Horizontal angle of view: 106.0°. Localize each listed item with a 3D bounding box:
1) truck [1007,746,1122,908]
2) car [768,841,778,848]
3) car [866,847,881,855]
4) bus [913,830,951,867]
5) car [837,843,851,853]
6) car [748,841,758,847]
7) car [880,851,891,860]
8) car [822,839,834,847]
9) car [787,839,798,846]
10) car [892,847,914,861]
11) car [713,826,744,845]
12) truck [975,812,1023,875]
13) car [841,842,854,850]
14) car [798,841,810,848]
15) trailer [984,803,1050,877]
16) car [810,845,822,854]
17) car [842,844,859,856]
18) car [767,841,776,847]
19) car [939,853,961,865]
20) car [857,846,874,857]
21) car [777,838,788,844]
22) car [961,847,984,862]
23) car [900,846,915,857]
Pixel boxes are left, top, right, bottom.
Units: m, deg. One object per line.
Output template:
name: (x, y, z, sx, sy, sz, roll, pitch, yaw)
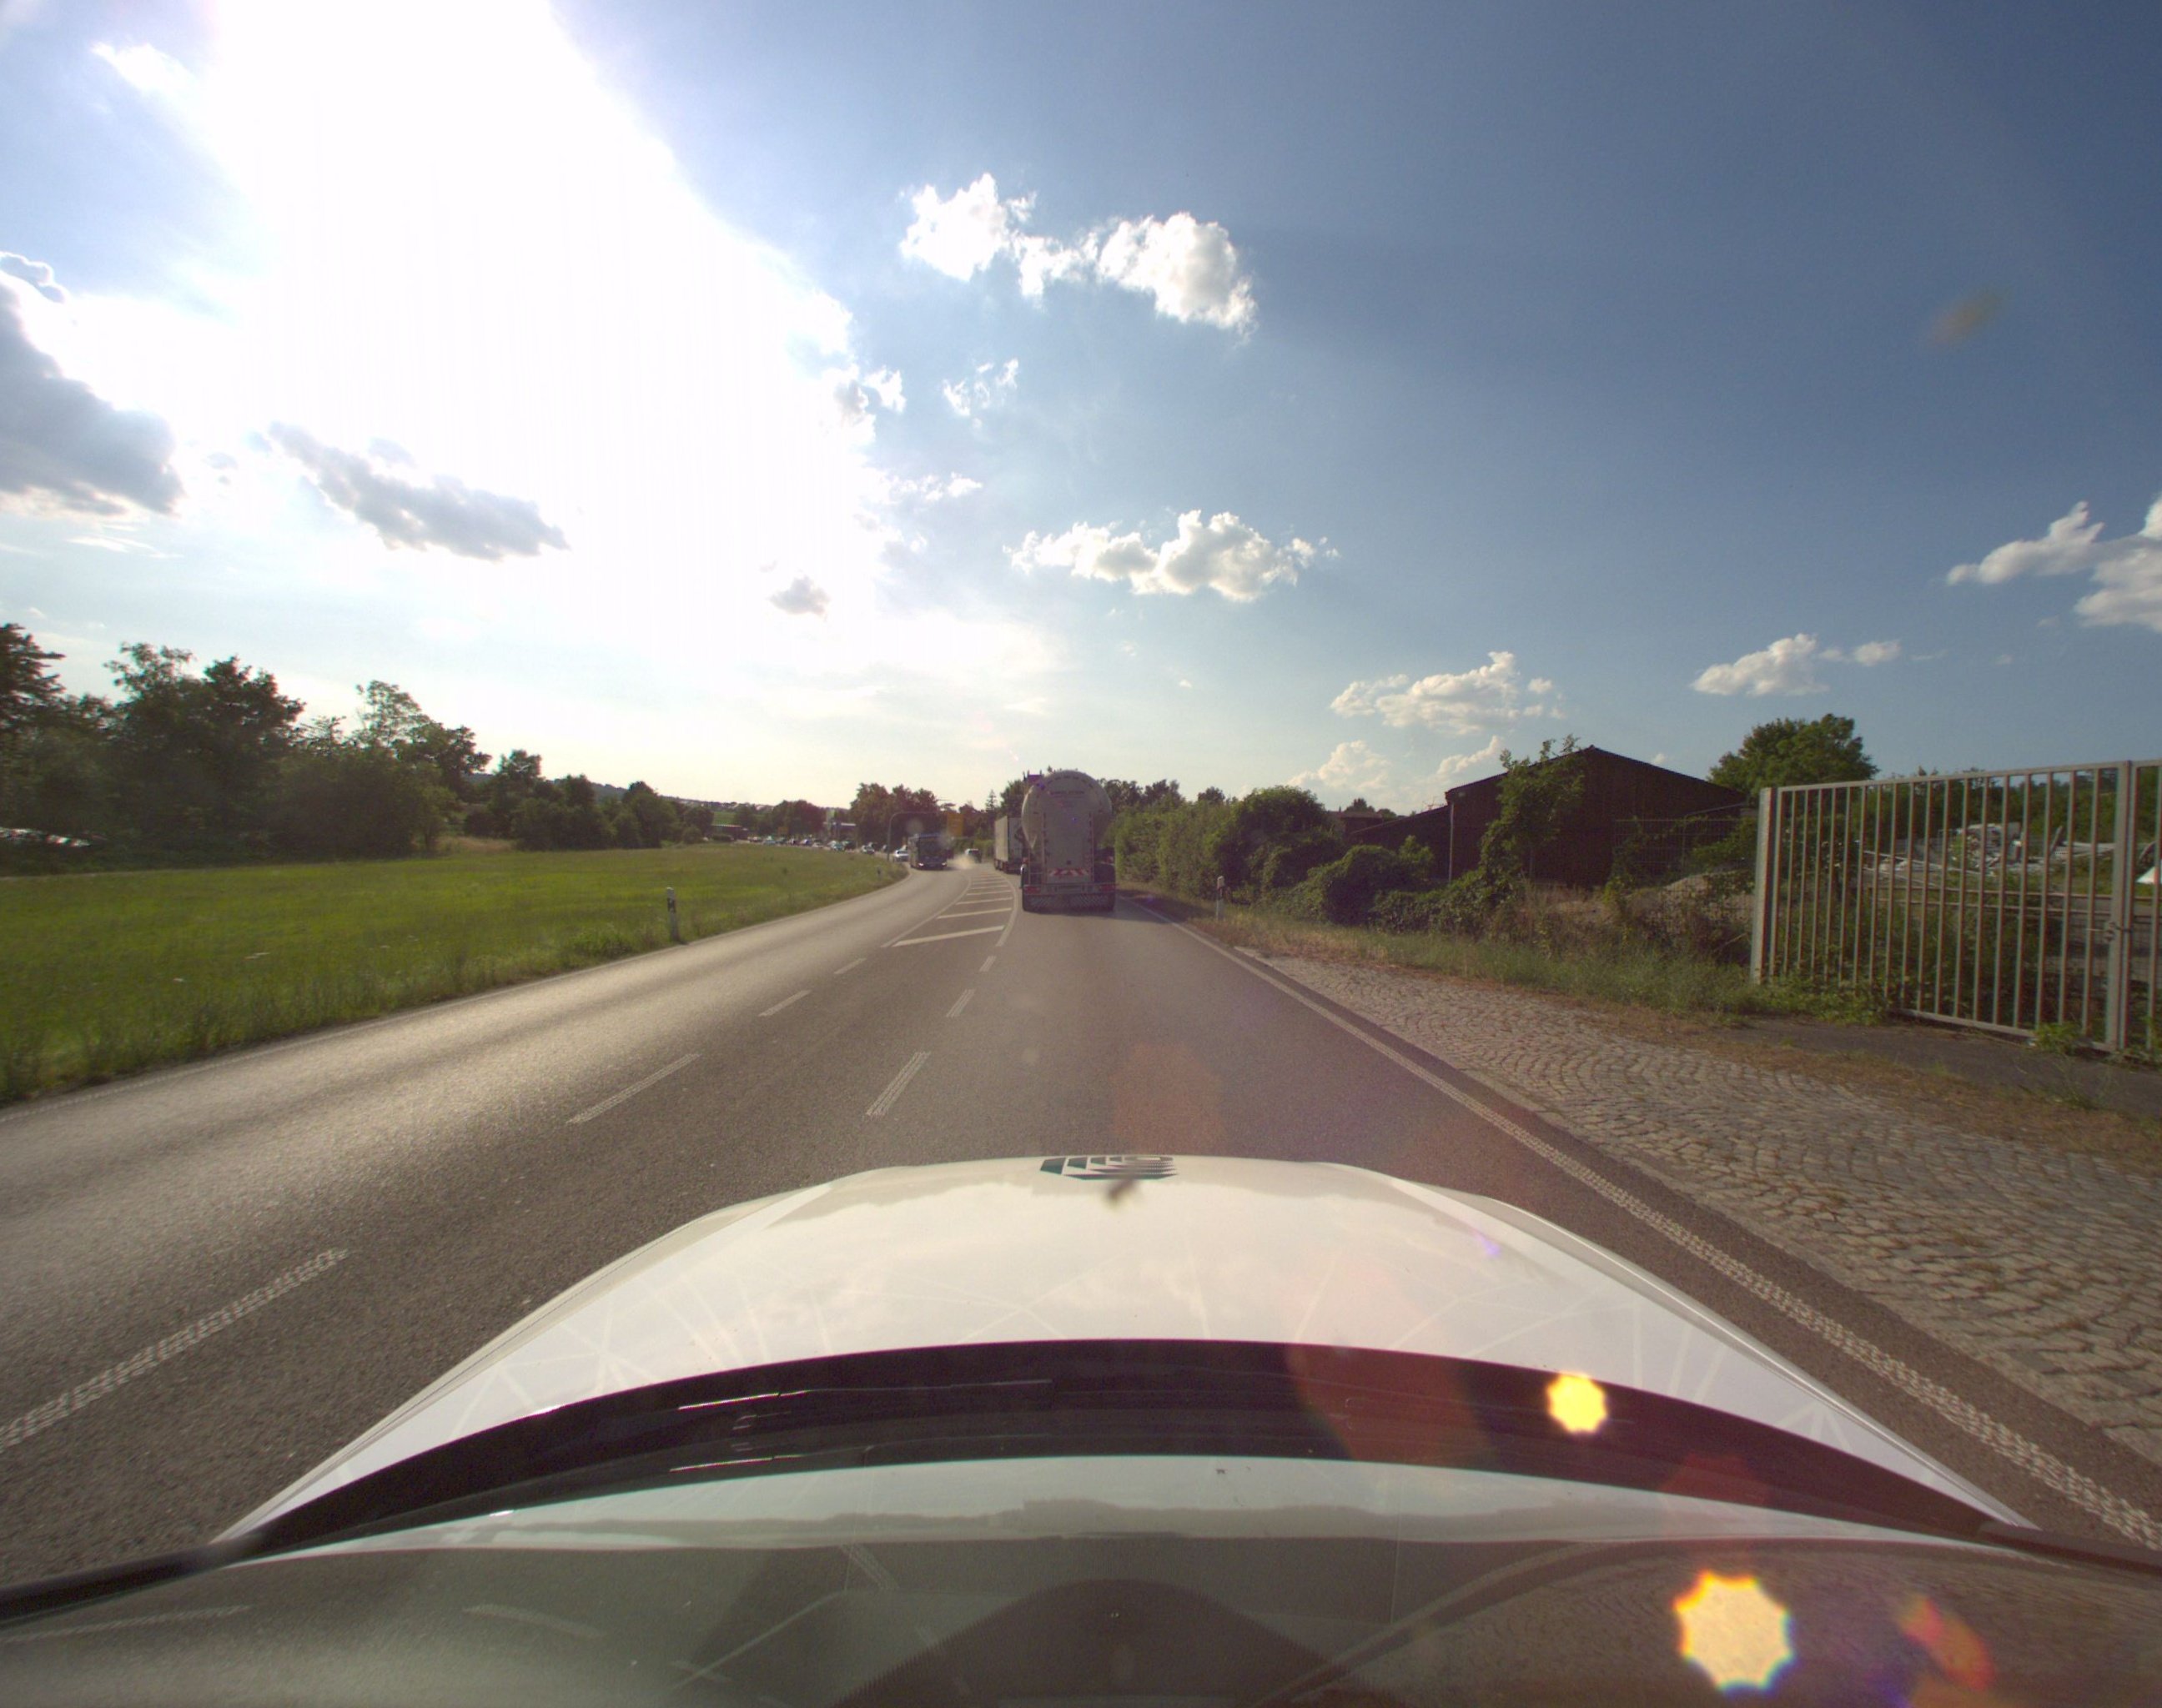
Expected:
truck: (-0.727, -0.618, 26.822, 2.969, 4.175, 11.648, 0, -1, -3)
car: (-71.814, -2.232, 189.651, 1.851, 1.656, 3.965, 0, -1, -26)
car: (-41.164, -0.564, 161.286, 2.096, 1.599, 3.965, 0, 0, -27)
bus: (-14.018, -0.369, 75.853, 2.798, 3.181, 12.069, 0, -1, -14)
car: (-42.623, -1.152, 146.379, 2.002, 1.724, 4.393, 0, 1, -22)
car: (-85.369, -2.632, 211.977, 1.893, 1.599, 3.963, 0, 0, -29)
car: (-35.559, 0.307, 148.326, 1.524, 1.656, 3.846, 0, -1, -20)
car: (-56.515, -2.416, 181.905, 2.096, 1.599, 3.965, 0, 0, -27)
car: (-69.693, -2.733, 196.816, 1.893, 1.599, 3.962, 0, 0, -30)
car: (-21.684, 0.041, 99.161, 1.850, 1.656, 3.967, 0, -1, -25)
car: (-97.325, -4.963, 224.512, 3.573, 5.059, 13.081, 0, 0, -43)
truck: (-6.730, -0.757, 66.130, 2.968, 4.886, 6.397, 0, -1, -15)
car: (-47.676, -1.617, 166.512, 1.892, 1.599, 3.965, 0, 0, -27)
car: (-65.303, -2.225, 191.764, 2.096, 1.599, 3.965, 0, 0, -27)
trailer: (-4.795, -0.850, 58.827, 2.969, 4.882, 10.235, 0, -1, -15)
car: (-52.898, -0.954, 162.447, 1.850, 1.656, 3.966, 0, -1, -25)
car: (-34.602, -0.579, 122.342, 1.850, 1.656, 3.966, 0, -1, -25)
car: (-79.102, -2.586, 208.246, 1.892, 1.599, 3.965, 0, 0, -27)
car: (-17.947, 0.664, 111.502, 2.307, 1.656, 4.385, 0, -1, -20)
car: (-33.255, -0.420, 125.895, 1.850, 1.656, 3.966, 0, -1, -25)
car: (-73.878, -3.218, 201.530, 1.892, 1.599, 3.965, 0, 0, -27)
car: (-12.598, 0.048, 94.564, 1.998, 1.656, 3.977, 0, -1, -17)
car: (-28.145, -0.383, 131.927, 1.847, 1.656, 3.973, 0, -1, -20)
